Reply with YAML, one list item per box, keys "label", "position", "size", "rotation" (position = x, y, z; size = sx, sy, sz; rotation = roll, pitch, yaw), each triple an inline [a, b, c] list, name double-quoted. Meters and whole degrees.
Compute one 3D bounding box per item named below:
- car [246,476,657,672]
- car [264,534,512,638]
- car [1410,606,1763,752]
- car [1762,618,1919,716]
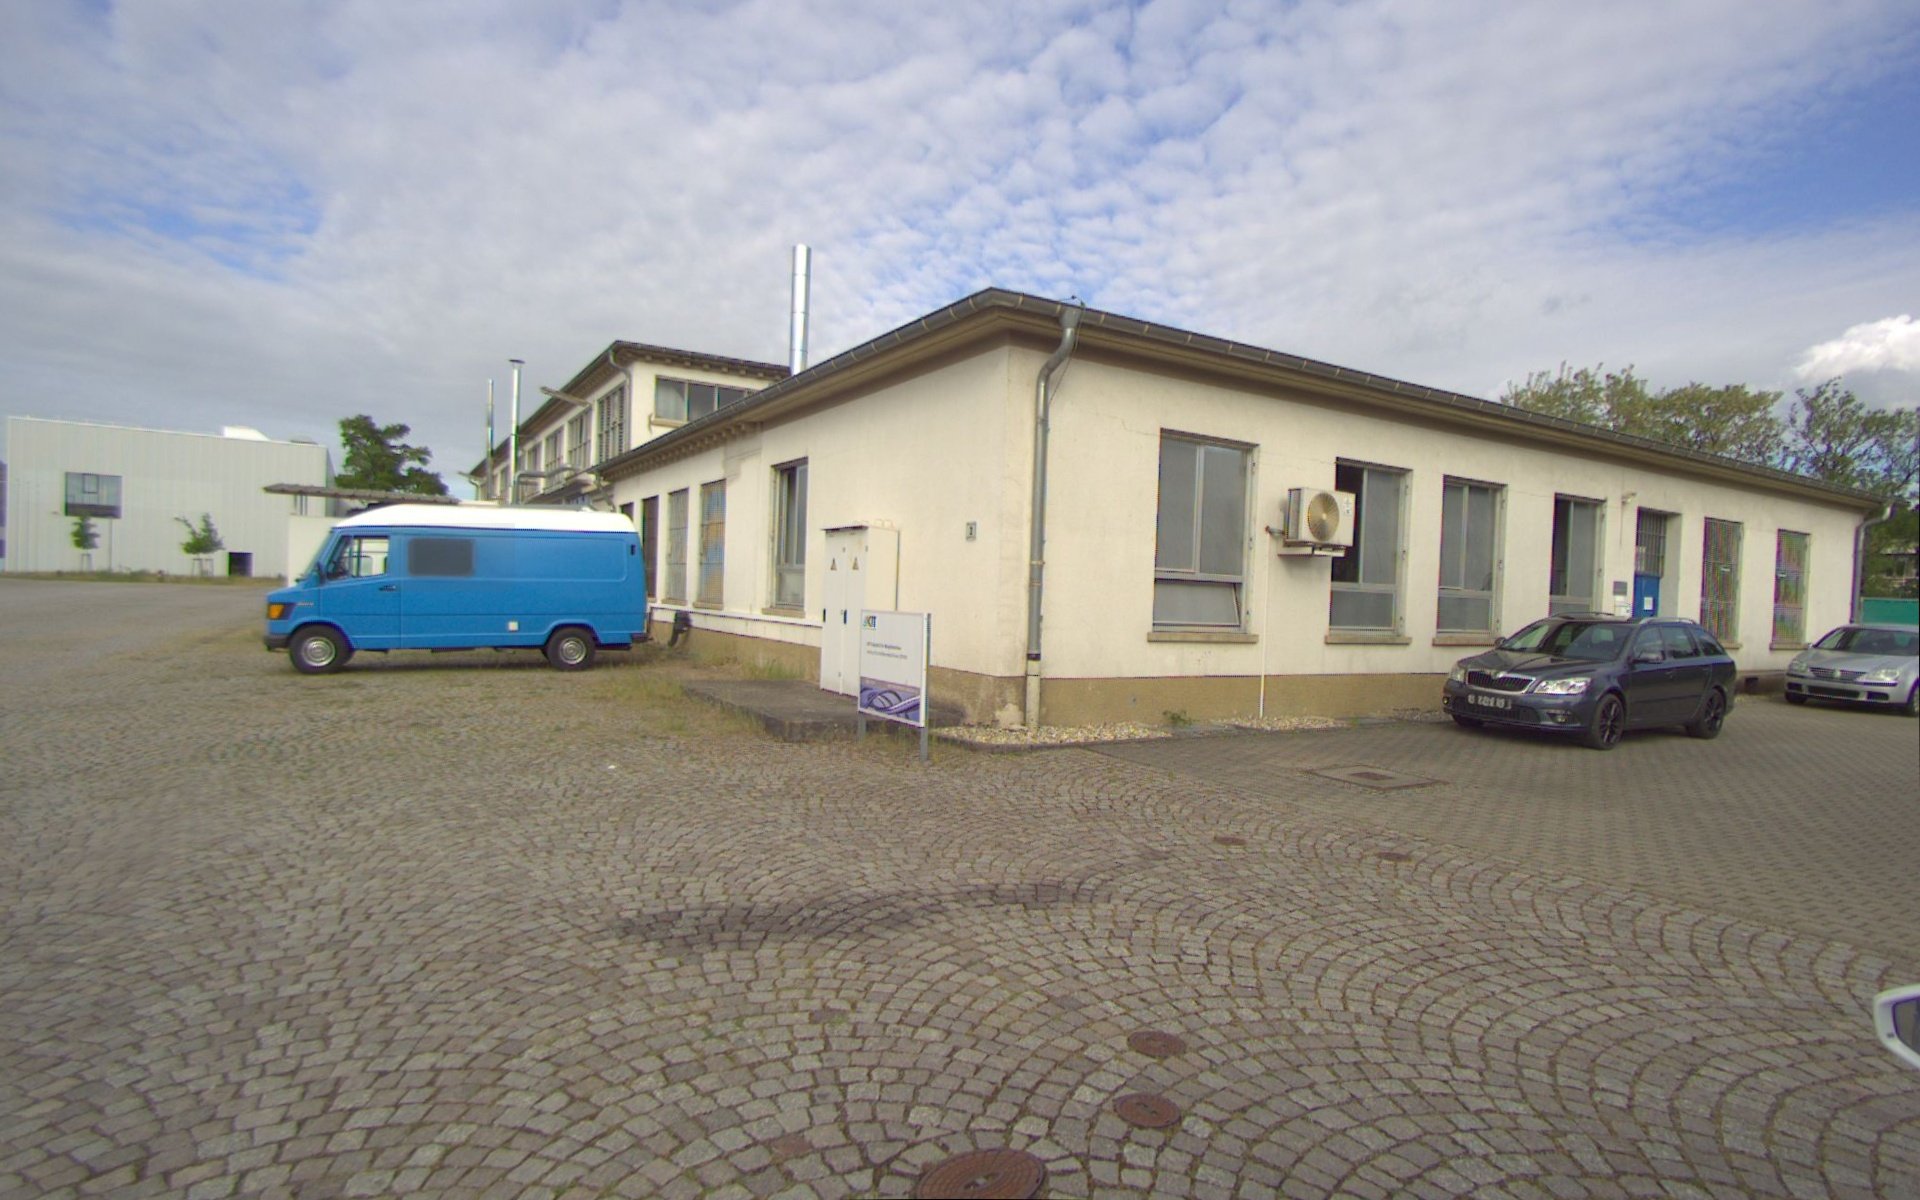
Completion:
- label: "car"
  position: [-7.618, -0.333, 15.533]
  size: [5.331, 2.617, 1.985]
  rotation: [1, 1, -29]
- label: "car"
  position: [-12.661, -0.282, 22.542]
  size: [4.627, 2.138, 1.985]
  rotation: [1, 1, -29]
- label: "car"
  position: [7.966, 0.893, 12.636]
  size: [4.759, 1.480, 1.913]
  rotation: [2, 0, -33]
- label: "car"
  position: [16.224, 1.120, 17.743]
  size: [4.321, 1.458, 1.913]
  rotation: [2, 0, -33]
